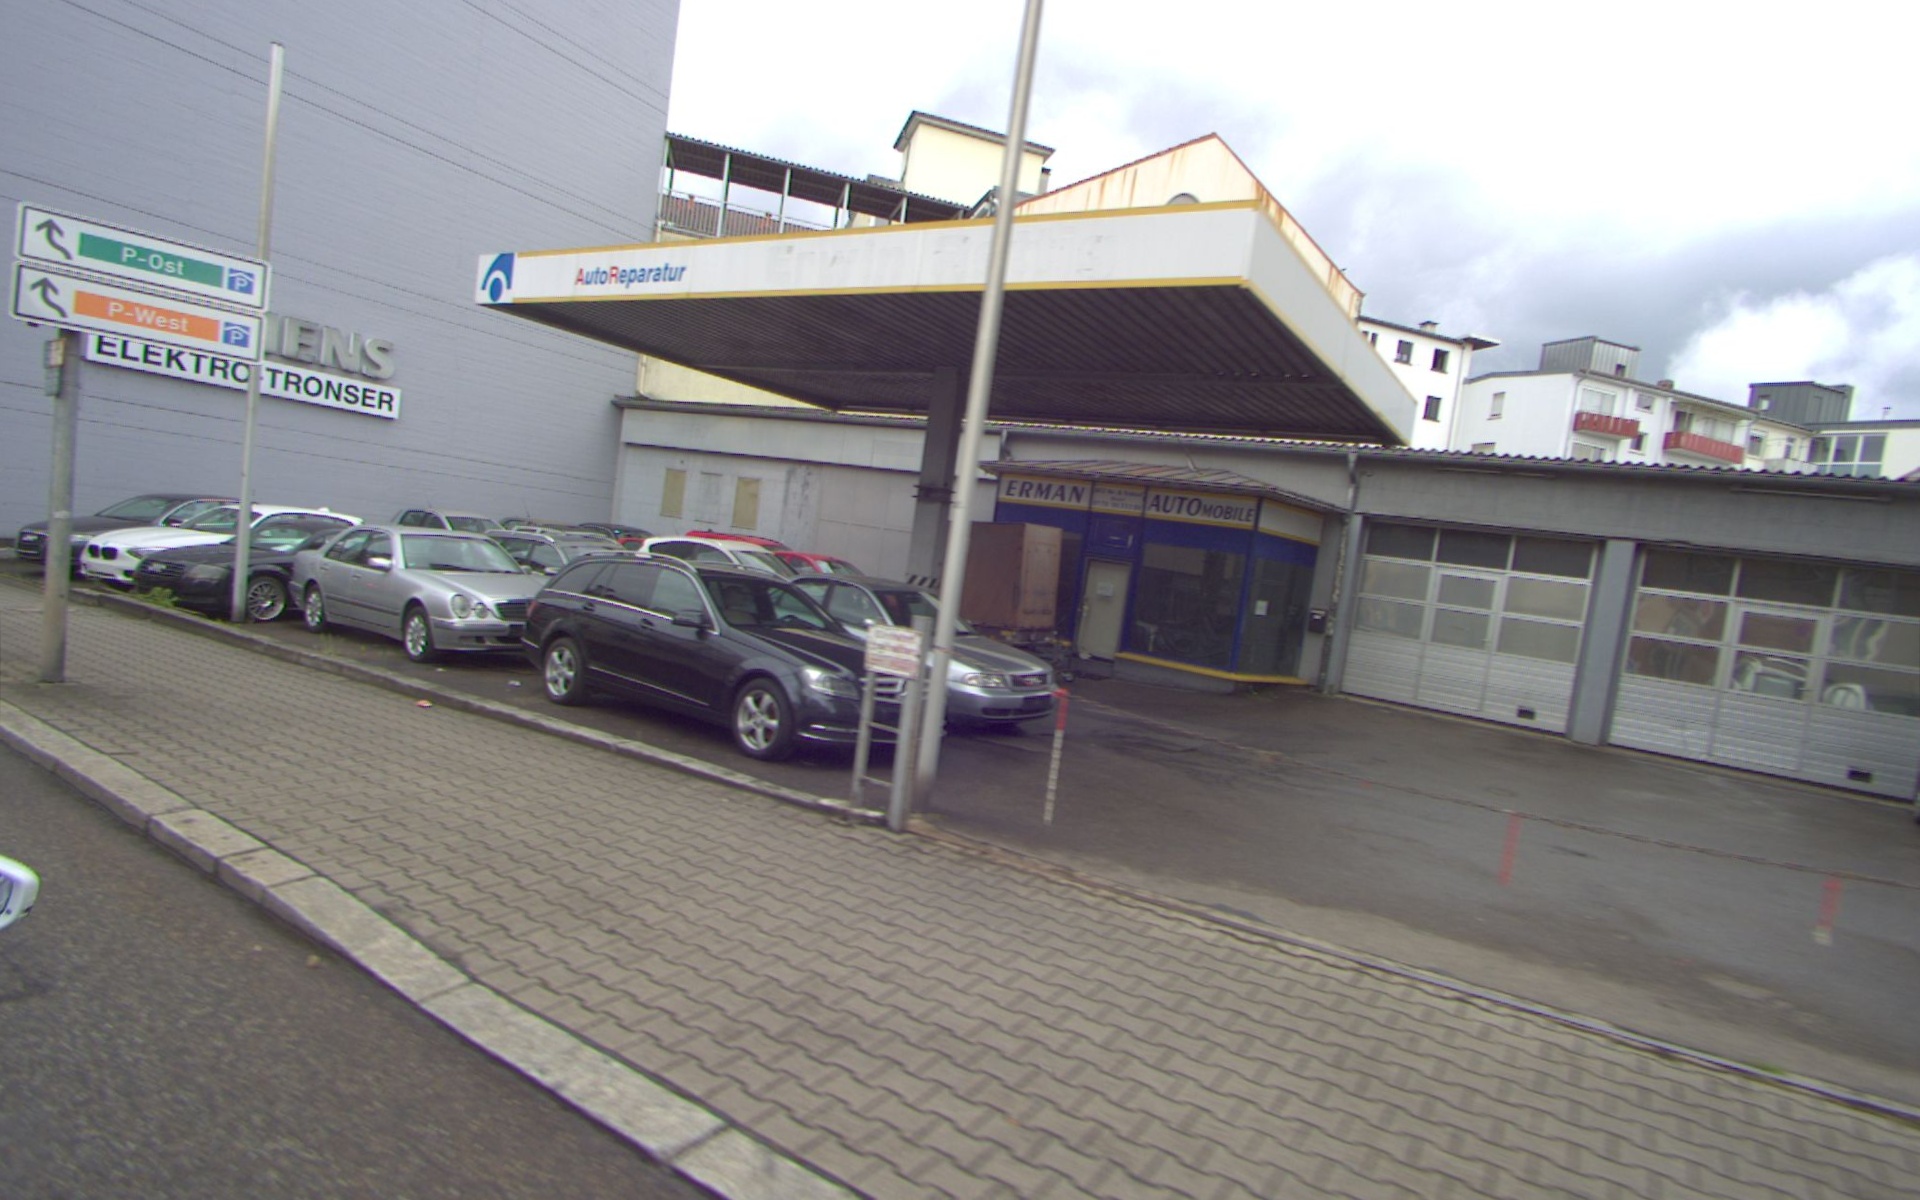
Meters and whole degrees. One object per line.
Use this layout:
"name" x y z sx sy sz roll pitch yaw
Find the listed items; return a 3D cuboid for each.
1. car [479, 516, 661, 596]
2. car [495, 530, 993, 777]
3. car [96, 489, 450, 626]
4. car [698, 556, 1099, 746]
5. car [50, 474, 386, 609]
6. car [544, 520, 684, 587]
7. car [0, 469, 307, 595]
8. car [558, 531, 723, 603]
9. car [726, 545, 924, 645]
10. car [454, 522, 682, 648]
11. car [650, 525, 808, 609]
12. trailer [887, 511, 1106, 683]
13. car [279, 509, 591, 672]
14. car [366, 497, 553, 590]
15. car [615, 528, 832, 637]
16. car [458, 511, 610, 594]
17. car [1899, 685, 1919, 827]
"car" -7.612 -0.861 19.589 3.335 1.217 1.452 5 -1 30
"car" -2.093 0.351 9.049 4.416 1.495 1.797 7 0 36
"car" -9.683 -0.501 14.621 1.700 1.512 4.002 5 -1 16
"car" -0.851 0.472 11.409 4.420 1.496 1.794 7 1 40
"car" -11.650 -0.828 16.174 1.765 1.616 4.002 5 -1 16
"car" -8.845 -1.201 25.677 3.297 1.370 1.454 5 -1 30
"car" -13.857 -1.081 17.423 1.765 1.616 4.002 5 -1 16
"car" -6.946 -0.730 21.795 3.335 1.217 1.452 5 -1 30
"car" -2.569 -0.107 18.964 3.463 1.531 1.451 5 -1 31
"car" -5.846 -0.247 14.885 3.341 1.531 1.527 5 -1 37
"car" -5.344 -0.767 23.199 3.335 1.617 1.452 5 -1 30
"trailer" 0.570 -0.092 16.636 3.154 2.467 1.427 6 2 33
"car" -6.428 -0.153 12.161 4.005 1.495 1.566 7 0 35
"car" -10.748 -1.213 21.542 3.802 1.617 1.647 5 -1 30
"car" -4.110 -0.309 17.381 3.463 1.531 1.553 5 -1 31
"car" -10.050 -1.132 23.692 3.335 1.617 1.452 5 -1 30
"car" 11.455 1.852 10.550 1.859 1.533 4.234 7 2 39
